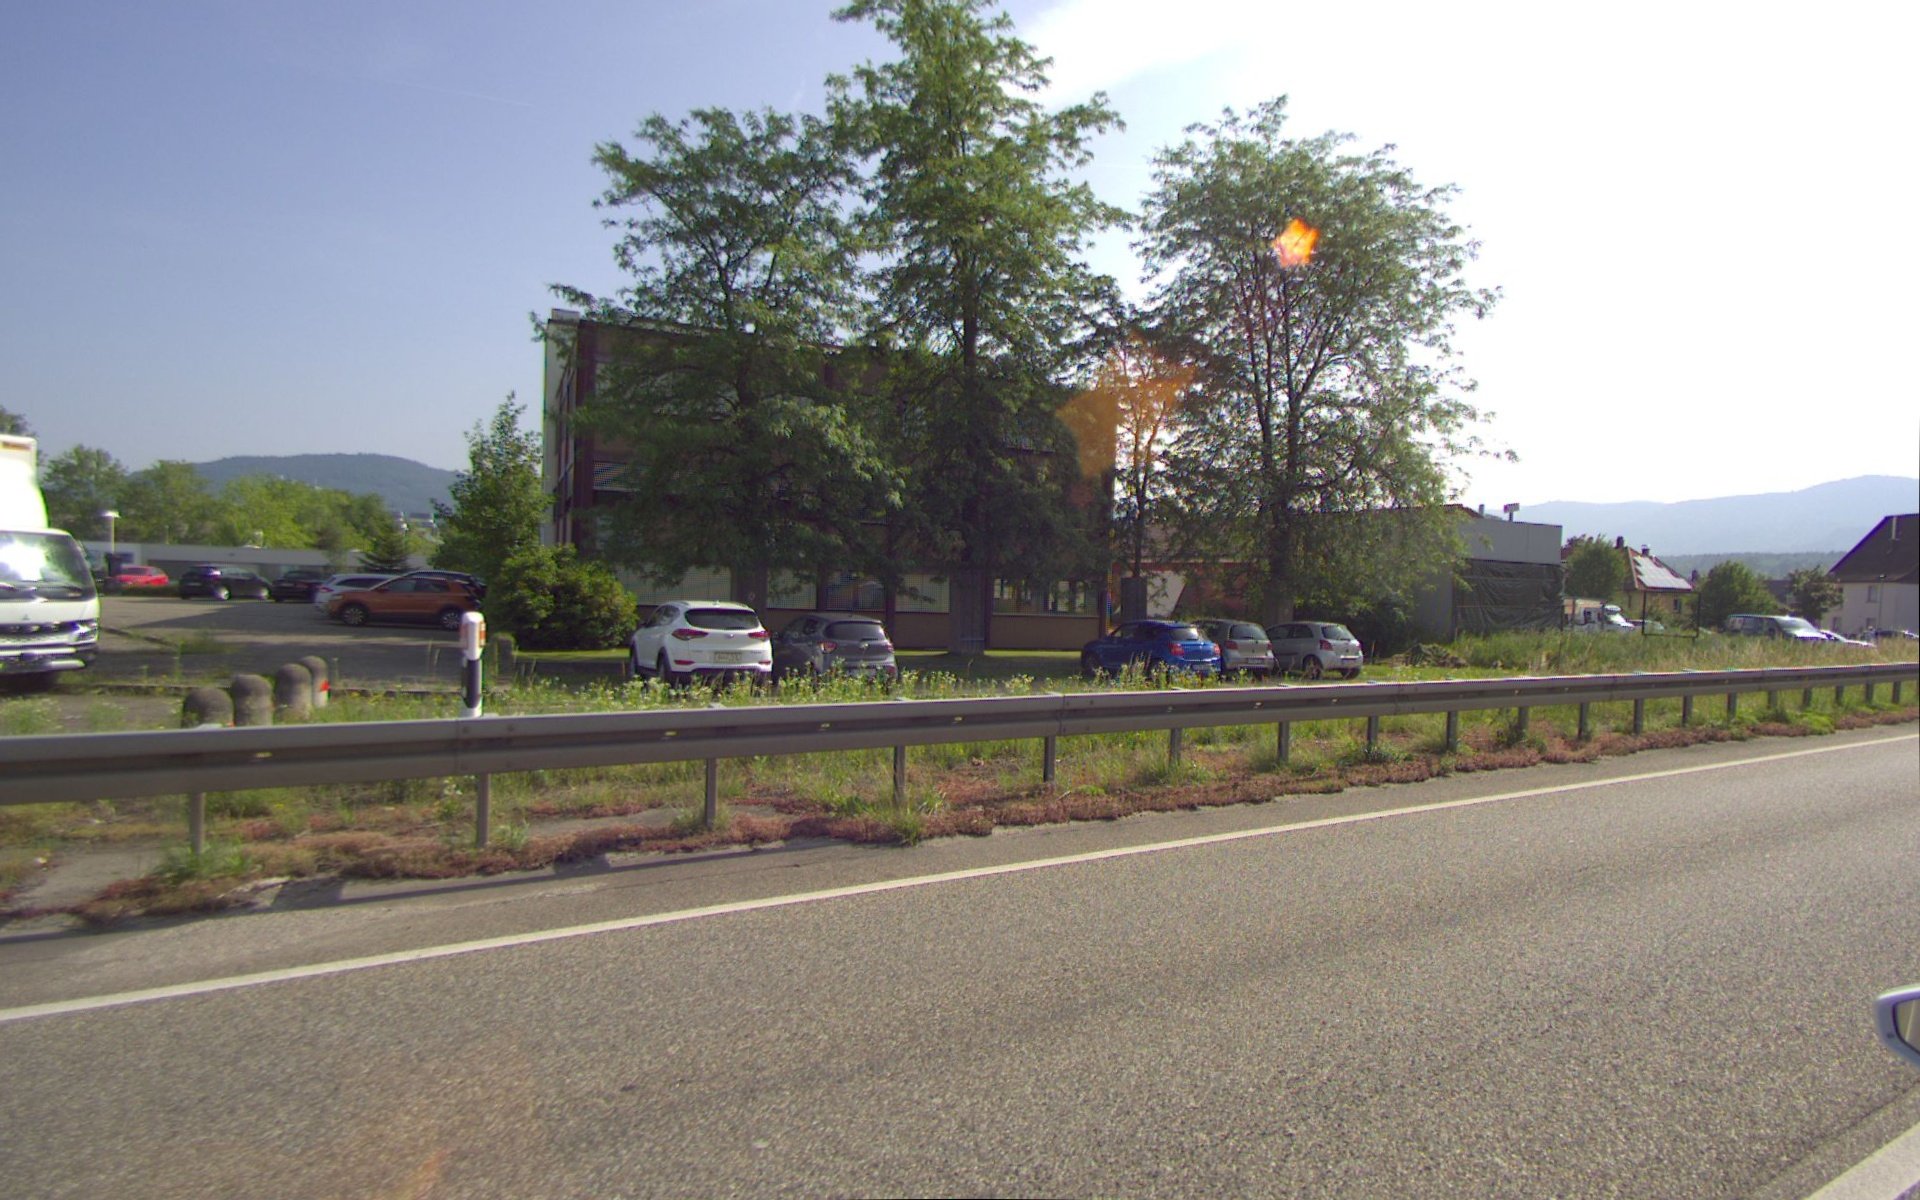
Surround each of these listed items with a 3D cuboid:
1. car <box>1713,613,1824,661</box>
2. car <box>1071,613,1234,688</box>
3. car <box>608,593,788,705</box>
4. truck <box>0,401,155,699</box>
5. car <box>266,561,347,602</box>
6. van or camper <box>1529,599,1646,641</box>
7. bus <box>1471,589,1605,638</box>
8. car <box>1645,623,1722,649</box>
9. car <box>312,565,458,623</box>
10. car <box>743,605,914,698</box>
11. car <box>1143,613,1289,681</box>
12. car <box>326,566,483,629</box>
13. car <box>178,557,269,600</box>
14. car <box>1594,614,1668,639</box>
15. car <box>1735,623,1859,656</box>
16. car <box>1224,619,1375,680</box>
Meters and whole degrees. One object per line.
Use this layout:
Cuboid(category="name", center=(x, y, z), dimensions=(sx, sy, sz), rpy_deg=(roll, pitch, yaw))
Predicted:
Cuboid(category="car", center=(38.346, 1.680, 47.819), dimensions=(1.959, 2.040, 4.908), rpy_deg=(1, 0, 10))
Cuboid(category="car", center=(4.664, 1.178, 24.742), dimensions=(1.910, 1.520, 3.727), rpy_deg=(2, 1, -31))
Cuboid(category="car", center=(-4.945, 0.798, 18.523), dimensions=(1.912, 1.677, 4.324), rpy_deg=(2, 1, -33))
Cuboid(category="truck", center=(-15.430, -0.754, 13.459), dimensions=(8.045, 3.604, 2.808), rpy_deg=(2, 1, 13))
Cuboid(category="car", center=(-28.405, -0.787, 43.789), dimensions=(1.701, 1.625, 3.988), rpy_deg=(3, 0, -15))
Cuboid(category="van or camper", center=(48.881, 1.506, 78.531), dimensions=(2.712, 2.880, 7.366), rpy_deg=(2, 1, -27))
Cuboid(category="bus", center=(44.950, 0.923, 78.507), dimensions=(2.631, 3.400, 9.064), rpy_deg=(0, 2, -27))
Cuboid(category="car", center=(57.757, 2.880, 80.273), dimensions=(1.839, 1.655, 4.540), rpy_deg=(4, 0, -27))
Cuboid(category="car", center=(-18.548, -0.186, 32.604), dimensions=(3.951, 1.625, 1.717), rpy_deg=(3, 0, -28))
Cuboid(category="car", center=(-2.700, 0.946, 19.904), dimensions=(1.912, 1.520, 3.725), rpy_deg=(2, 1, -33))
Cuboid(category="car", center=(6.768, 1.216, 26.906), dimensions=(1.832, 1.520, 3.736), rpy_deg=(2, 1, -24))
Cuboid(category="car", center=(-16.653, -0.066, 30.354), dimensions=(3.947, 1.625, 1.719), rpy_deg=(3, 0, -26))
Cuboid(category="car", center=(-31.365, -0.879, 42.930), dimensions=(1.701, 1.625, 3.988), rpy_deg=(3, 0, -15))
Cuboid(category="car", center=(53.140, 2.065, 79.653), dimensions=(1.838, 1.655, 4.540), rpy_deg=(1, 2, -27))
Cuboid(category="car", center=(42.237, 1.953, 50.784), dimensions=(1.728, 1.400, 4.579), rpy_deg=(1, 1, -38))
Cuboid(category="car", center=(9.519, 1.348, 28.392), dimensions=(1.841, 1.479, 3.727), rpy_deg=(2, 0, -31))
